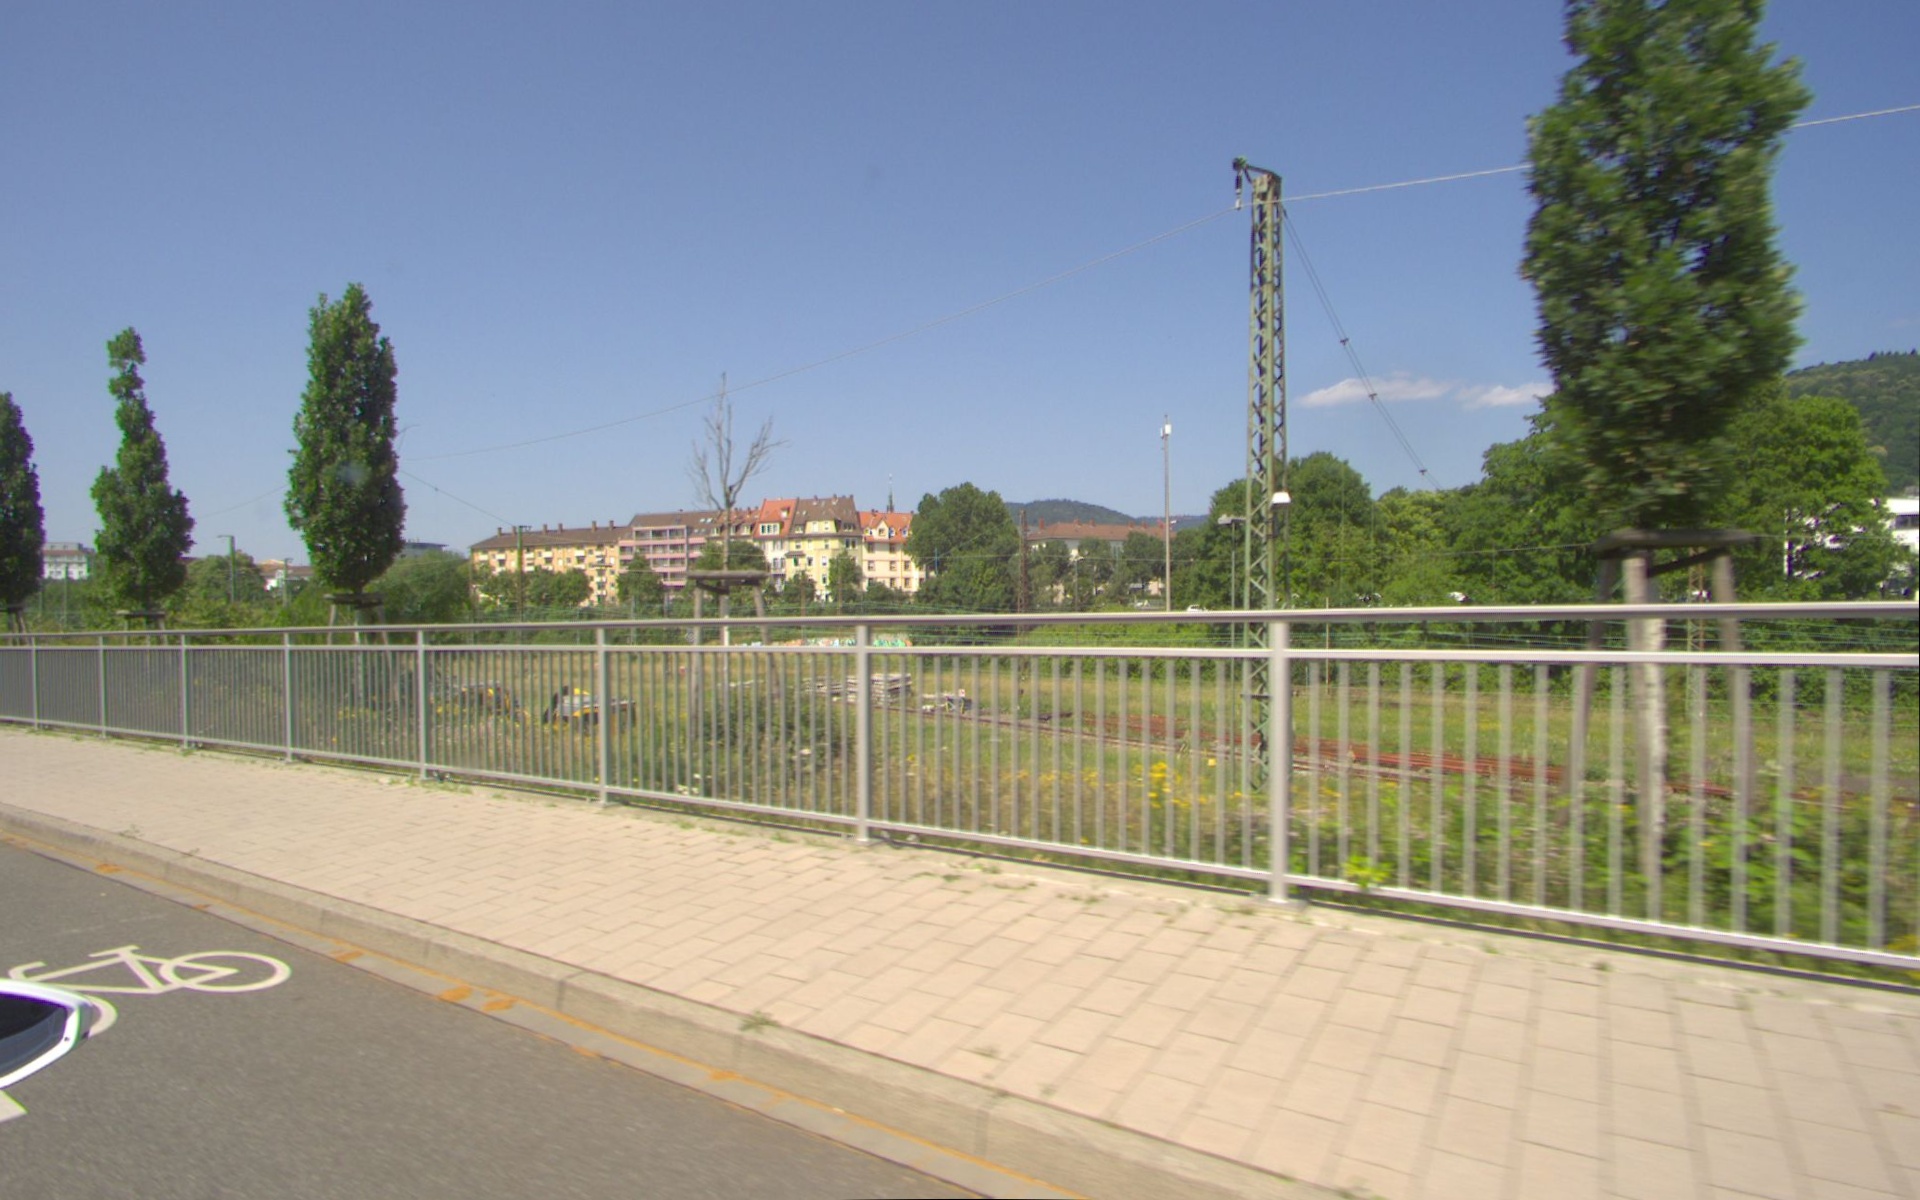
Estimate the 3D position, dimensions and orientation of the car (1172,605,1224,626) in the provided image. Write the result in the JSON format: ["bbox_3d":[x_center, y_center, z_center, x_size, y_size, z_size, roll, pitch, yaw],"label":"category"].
[{"bbox_3d":[24.974,1.633,105.225,4.930,2.141,1.985,-1,0,39],"label":"car"}]
